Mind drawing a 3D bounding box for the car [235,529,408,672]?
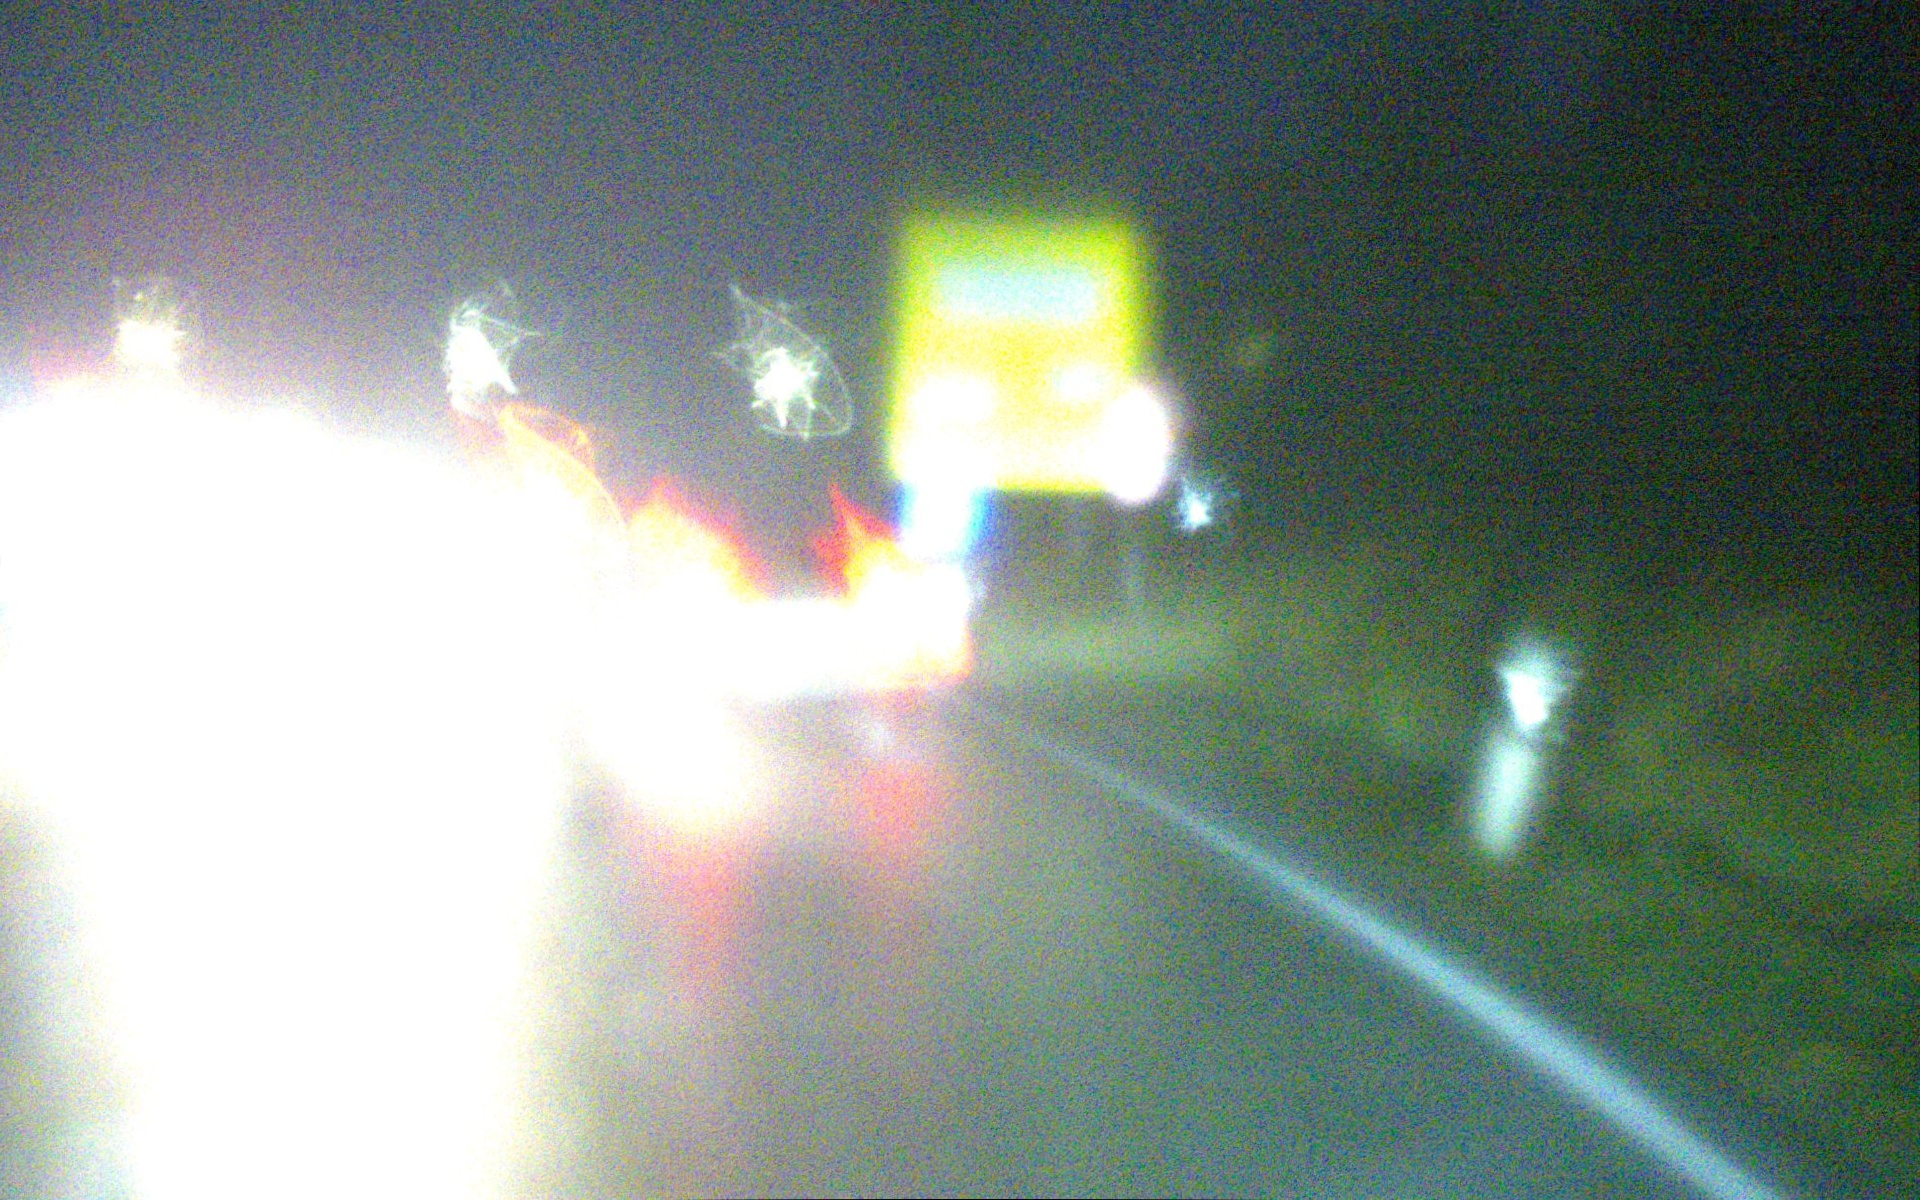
[{"bbox_3d":[-7.011,-0.037,37.988,1.771,1.478,4.382,0,1,-9],"label":"car"}]

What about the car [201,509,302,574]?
[{"bbox_3d":[-15.788,-1.304,76.489,1.771,1.384,4.234,0,1,-18],"label":"car"}]

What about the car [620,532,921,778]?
[{"bbox_3d":[-1.454,0.324,25.460,1.993,1.622,4.985,0,1,-4],"label":"car"}]
